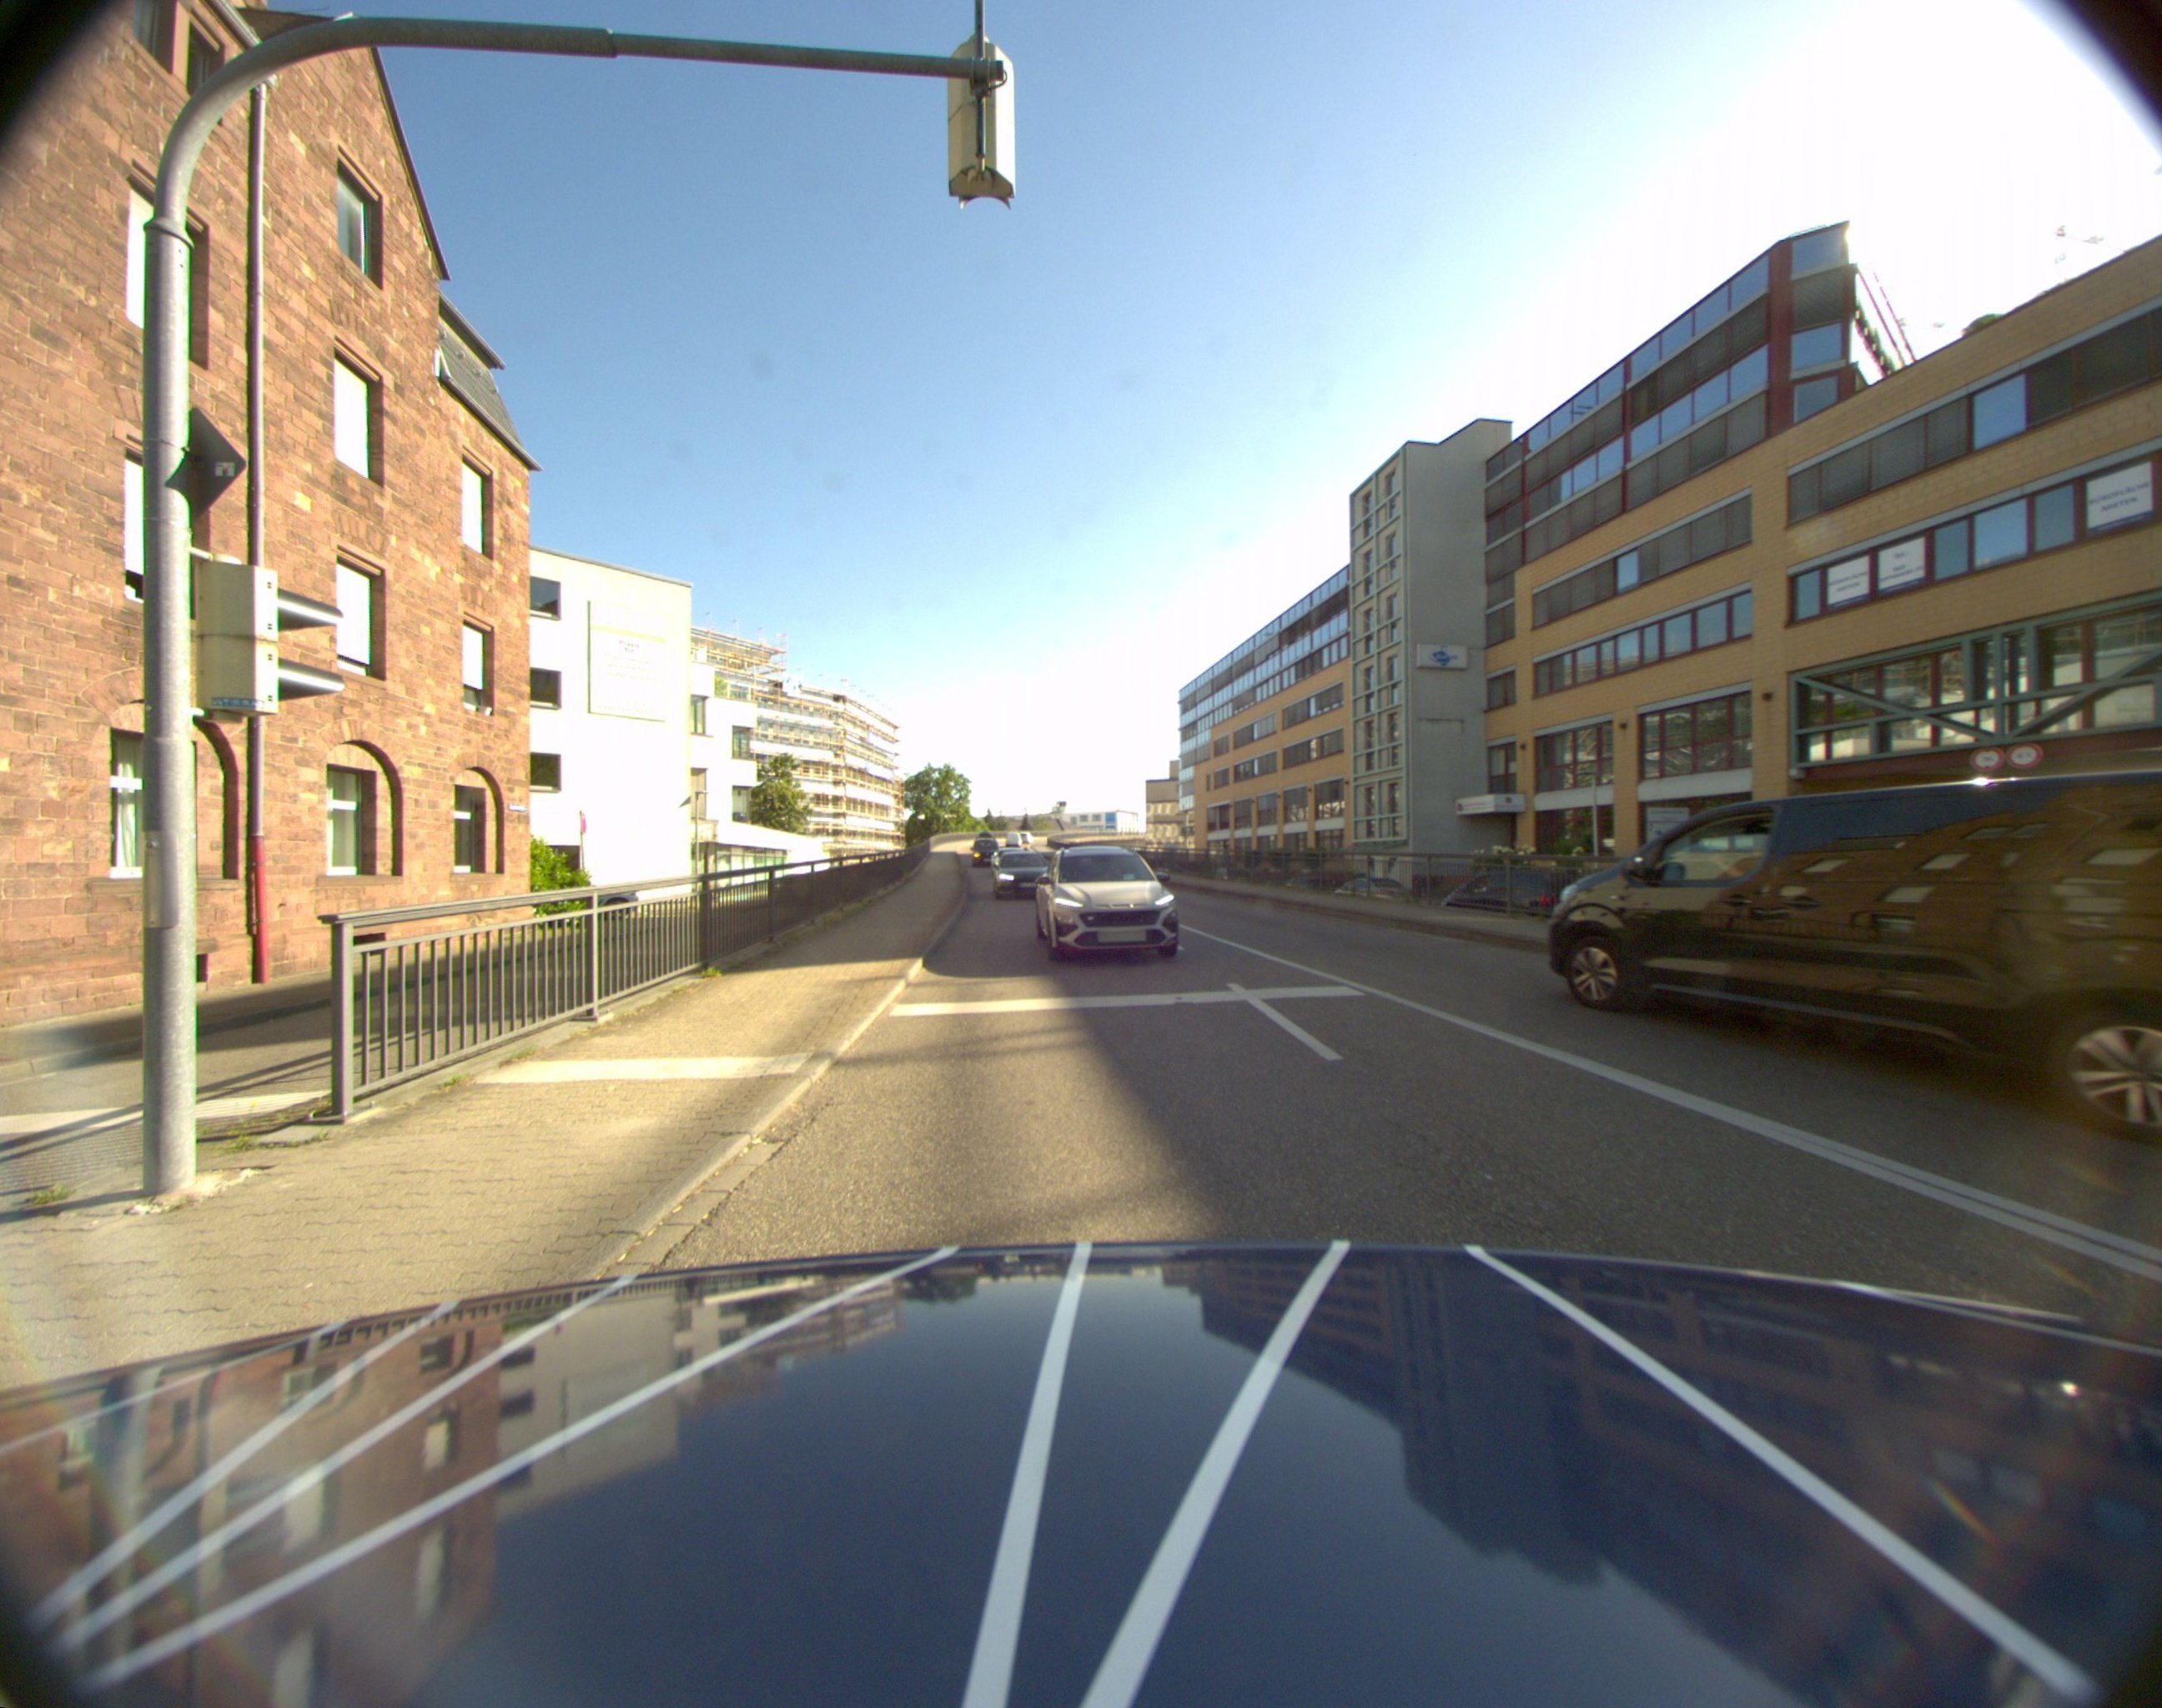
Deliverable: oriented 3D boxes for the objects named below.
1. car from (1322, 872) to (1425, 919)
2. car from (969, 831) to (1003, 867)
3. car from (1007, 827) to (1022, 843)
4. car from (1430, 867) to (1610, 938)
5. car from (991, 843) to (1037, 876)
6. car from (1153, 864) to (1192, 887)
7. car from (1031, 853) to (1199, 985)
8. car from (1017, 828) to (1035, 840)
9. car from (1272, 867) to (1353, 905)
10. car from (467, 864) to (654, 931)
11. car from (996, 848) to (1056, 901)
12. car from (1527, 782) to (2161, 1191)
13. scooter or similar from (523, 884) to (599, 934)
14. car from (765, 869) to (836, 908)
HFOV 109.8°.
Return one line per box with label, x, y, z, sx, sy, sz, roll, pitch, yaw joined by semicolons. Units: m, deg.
car;11.343;1.561;29.821;1.826;1.594;4.353;0;0;-10
car;-6.328;-0.401;50.229;1.911;2.202;4.592;-1;3;-10
car;-8.403;-2.347;95.650;1.816;1.791;5.118;0;0;-6
car;12.601;1.303;22.228;1.957;1.747;4.683;-1;0;-11
car;-3.481;0.226;38.726;1.851;1.527;4.502;-1;2;-11
car;6.858;1.599;57.227;2.000;1.652;3.998;0;0;-7
car;0.303;0.799;11.565;1.850;1.561;4.218;-1;1;-7
car;-8.031;-2.914;110.449;1.824;1.594;4.002;-2;-1;6
car;10.581;1.421;35.139;1.826;1.594;4.353;0;0;-10
car;-16.763;1.311;24.665;1.823;1.757;4.658;1;2;43
car;-1.857;0.593;24.700;1.722;1.483;4.165;-1;2;-7
car;5.813;0.634;5.351;2.000;1.924;4.848;0;0;-9
scooter or similar;-14.089;1.481;20.628;1.463;1.212;0.784;-3;1;-14
car;-12.746;1.500;34.842;1.850;1.422;4.678;-1;2;-6
